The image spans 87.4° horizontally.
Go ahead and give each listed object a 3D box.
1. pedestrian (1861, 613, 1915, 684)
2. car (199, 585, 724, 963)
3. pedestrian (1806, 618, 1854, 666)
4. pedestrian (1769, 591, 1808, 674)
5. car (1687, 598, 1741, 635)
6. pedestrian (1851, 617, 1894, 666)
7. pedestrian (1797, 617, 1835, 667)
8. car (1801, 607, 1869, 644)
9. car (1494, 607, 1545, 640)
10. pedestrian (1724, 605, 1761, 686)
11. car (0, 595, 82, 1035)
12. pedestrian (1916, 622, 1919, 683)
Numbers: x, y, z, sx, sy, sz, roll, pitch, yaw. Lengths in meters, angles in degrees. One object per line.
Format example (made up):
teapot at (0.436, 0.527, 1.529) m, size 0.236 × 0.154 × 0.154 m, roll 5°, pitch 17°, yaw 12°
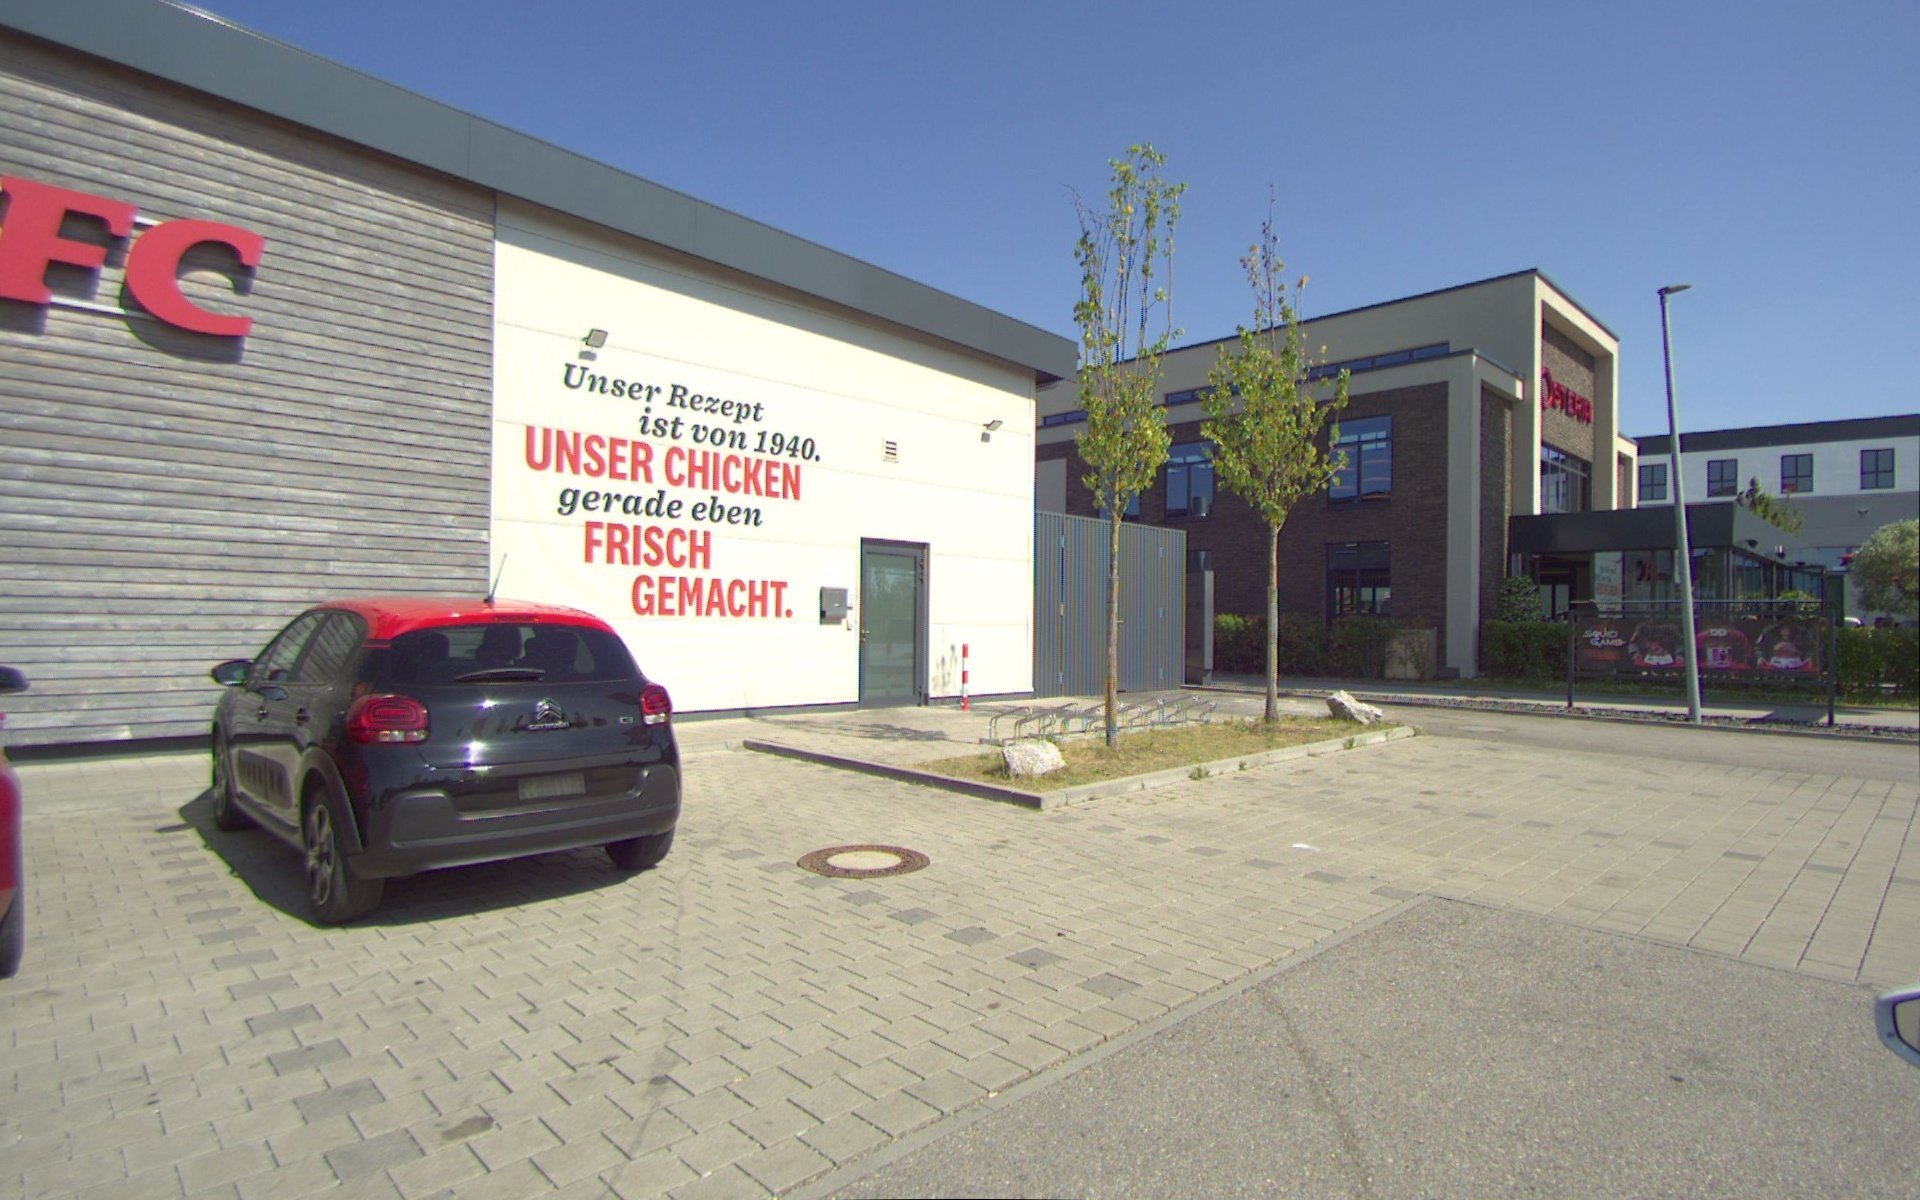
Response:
pedestrian at (18.558, 0.956, 20.096) m, size 0.638 × 1.385 × 0.482 m, roll 0°, pitch 0°, yaw 21°
car at (-3.202, 0.703, 6.046) m, size 1.729 × 1.526 × 3.857 m, roll 1°, pitch 0°, yaw -44°
pedestrian at (22.437, 1.062, 25.909) m, size 0.606 × 1.214 × 0.708 m, roll 0°, pitch 0°, yaw -14°
pedestrian at (15.457, 0.598, 18.734) m, size 0.518 × 1.525 × 0.566 m, roll -1°, pitch 0°, yaw 43°
car at (33.675, 0.713, 44.913) m, size 1.708 × 1.588 × 3.939 m, roll -1°, pitch -1°, yaw 34°
pedestrian at (22.935, 1.029, 25.254) m, size 0.611 × 1.214 × 0.703 m, roll 0°, pitch 0°, yaw -36°
pedestrian at (21.531, 1.049, 25.268) m, size 0.699 × 1.214 × 0.665 m, roll -1°, pitch 0°, yaw 38°
car at (37.194, 1.045, 42.773) m, size 1.708 × 1.507 × 3.939 m, roll -1°, pitch -1°, yaw 34°
car at (27.617, 1.138, 49.532) m, size 1.620 × 1.588 × 3.667 m, roll -1°, pitch -1°, yaw 39°
pedestrian at (15.042, 0.870, 19.311) m, size 0.518 × 1.525 × 0.566 m, roll -1°, pitch 0°, yaw 43°
car at (-5.140, 0.682, 4.286) m, size 4.340 × 1.432 × 1.730 m, roll 0°, pitch 0°, yaw 44°
pedestrian at (19.133, 1.029, 19.537) m, size 0.638 × 1.201 × 0.482 m, roll 0°, pitch 0°, yaw 21°
